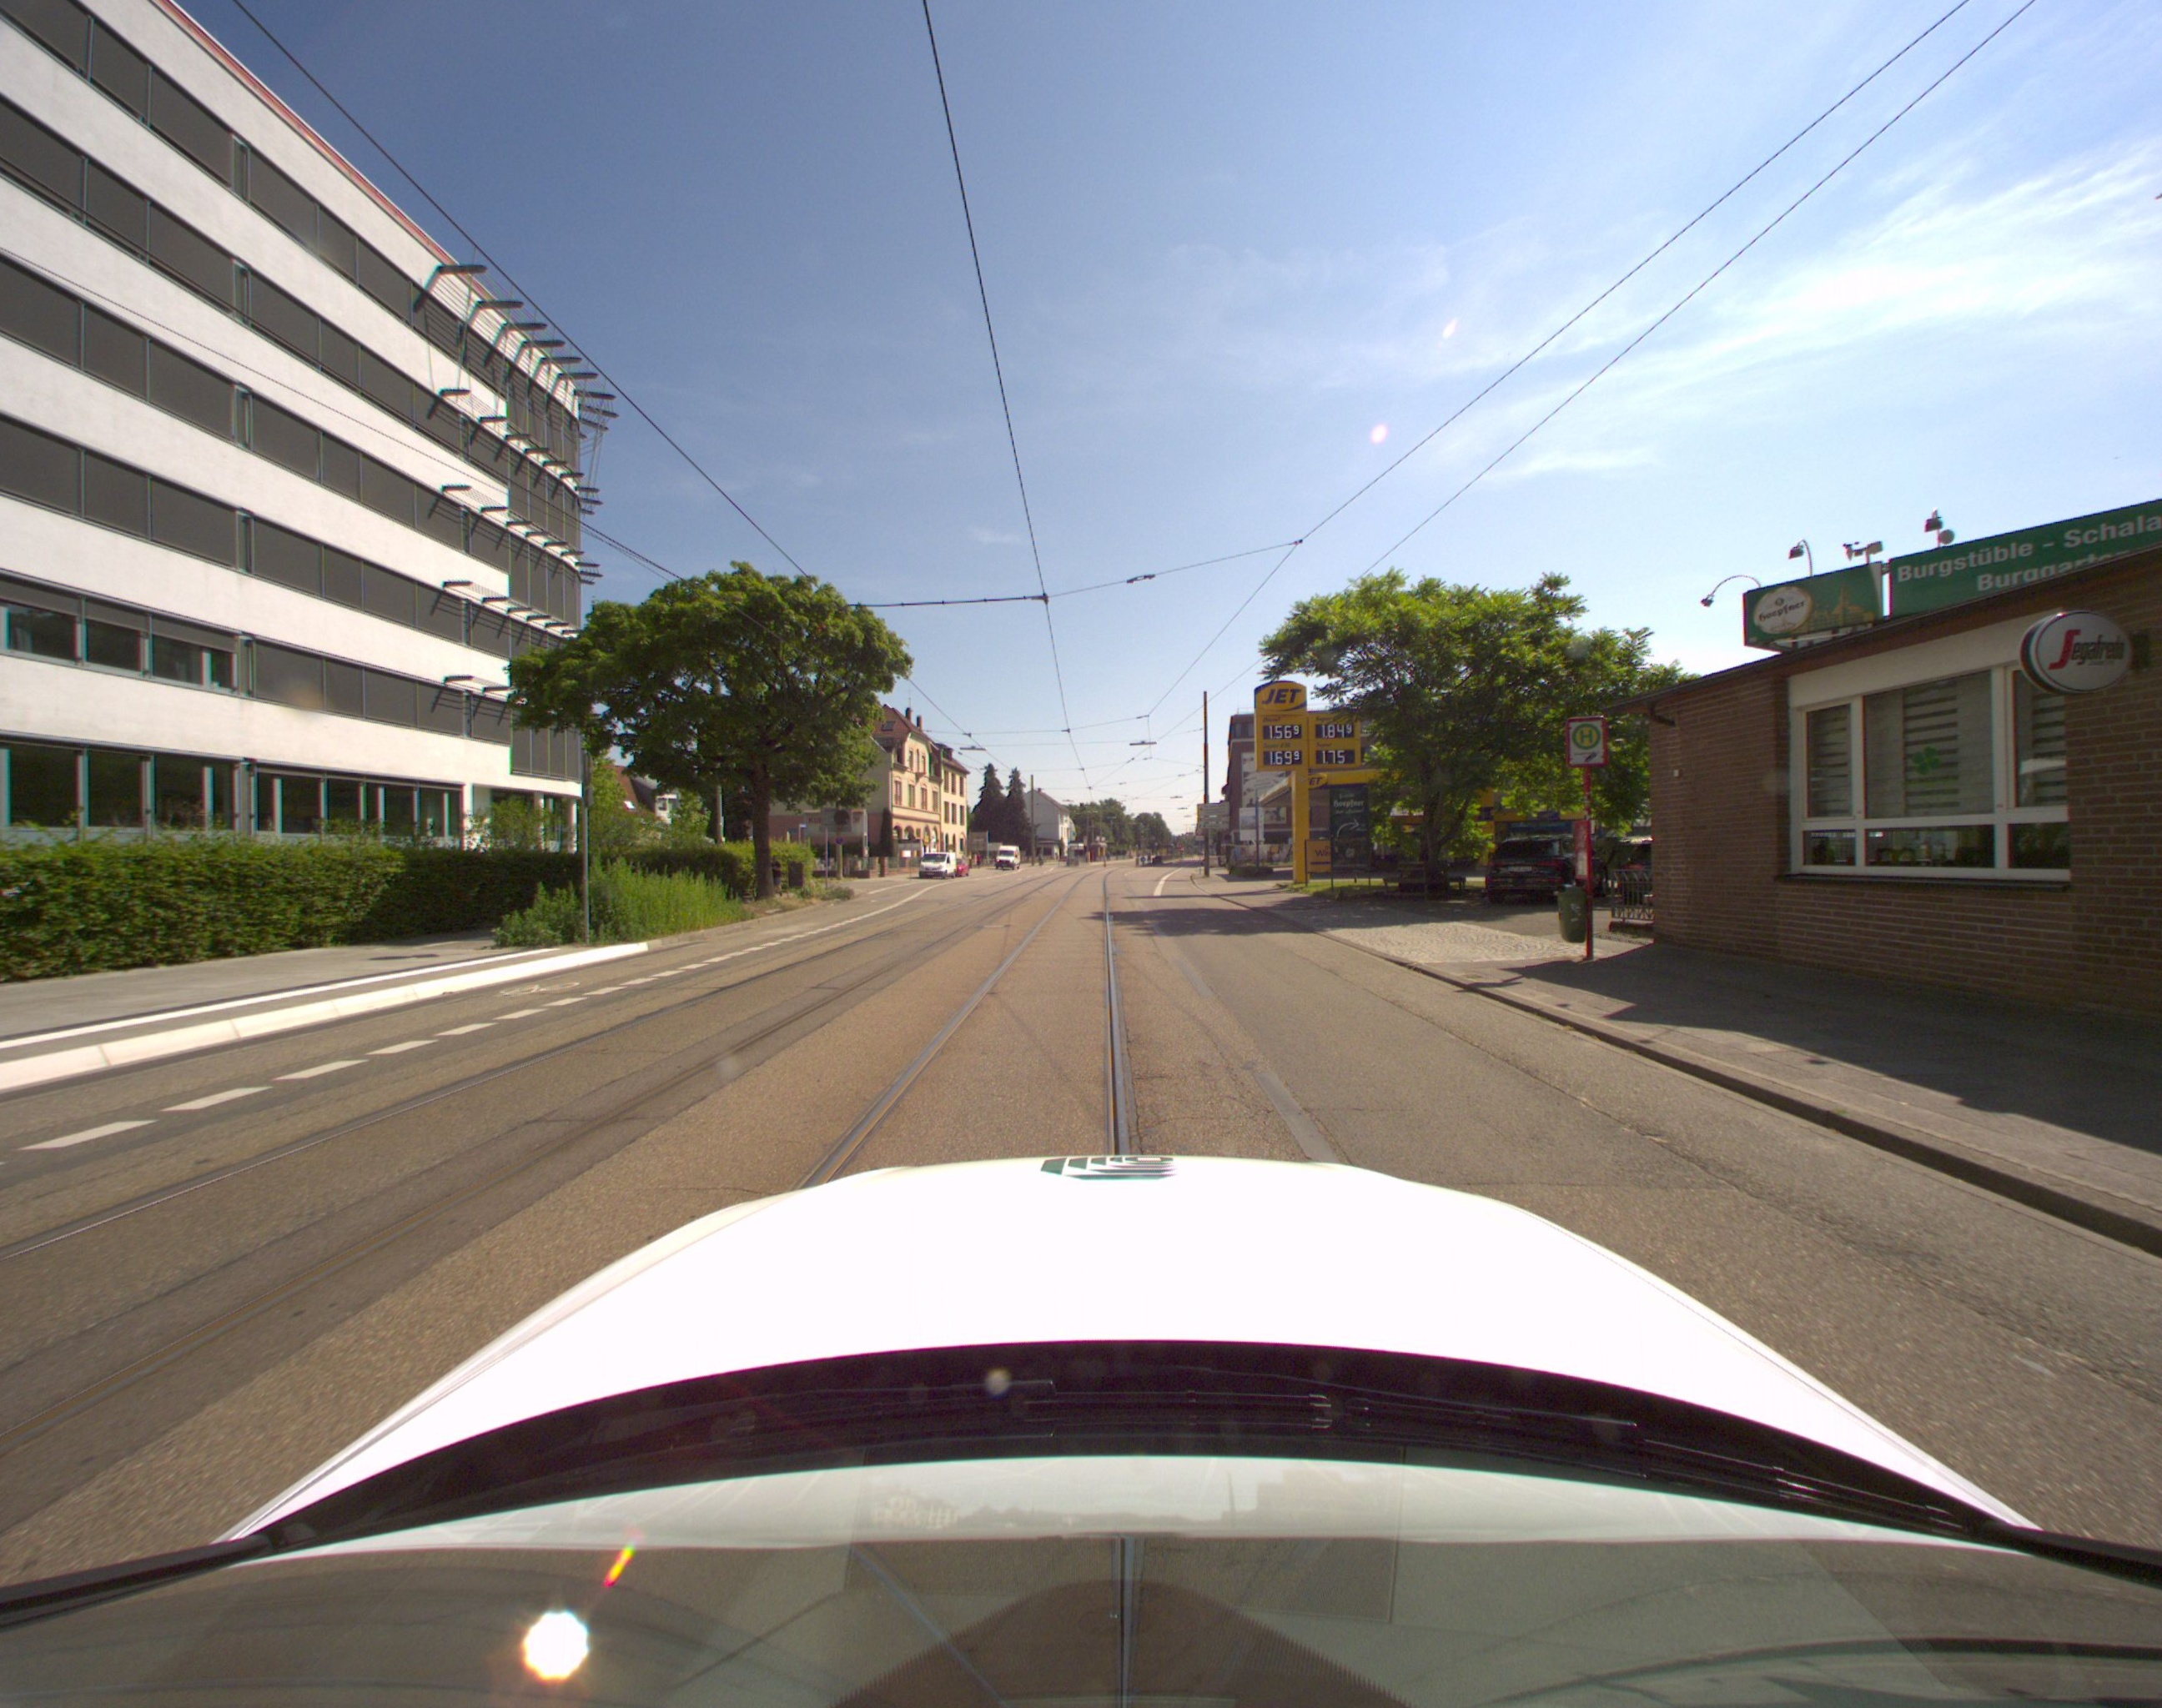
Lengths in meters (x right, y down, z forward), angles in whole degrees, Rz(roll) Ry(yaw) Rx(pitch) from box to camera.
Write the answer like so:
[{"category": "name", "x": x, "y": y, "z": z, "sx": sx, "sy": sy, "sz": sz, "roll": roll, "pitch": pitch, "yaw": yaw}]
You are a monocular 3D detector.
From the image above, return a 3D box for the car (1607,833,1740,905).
[{"category": "car", "x": 13.671, "y": 0.286, "z": 18.706, "sx": 4.023, "sy": 1.474, "sz": 1.824, "roll": -2, "pitch": 0, "yaw": -45}]

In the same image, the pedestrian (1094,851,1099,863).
[{"category": "pedestrian", "x": 2.270, "y": 0.443, "z": 122.324, "sx": 0.703, "sy": 1.690, "sz": 0.416, "roll": -1, "pitch": 0, "yaw": 1}]

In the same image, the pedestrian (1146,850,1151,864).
[{"category": "pedestrian", "x": 8.527, "y": 0.379, "z": 103.470, "sx": 0.553, "sy": 1.760, "sz": 0.794, "roll": -2, "pitch": 0, "yaw": 3}]

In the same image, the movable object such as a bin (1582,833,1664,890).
[{"category": "movable object such as a bin", "x": 15.079, "y": 0.206, "z": 22.725, "sx": 1.411, "sy": 1.502, "sz": 1.381, "roll": -1, "pitch": 0, "yaw": 5}]

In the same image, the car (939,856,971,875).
[{"category": "car", "x": -10.031, "y": 0.891, "z": 65.235, "sx": 1.713, "sy": 1.406, "sz": 4.004, "roll": -1, "pitch": 0, "yaw": 3}]

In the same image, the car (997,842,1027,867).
[{"category": "car", "x": -7.453, "y": -0.005, "z": 89.145, "sx": 2.319, "sy": 2.535, "sz": 6.513, "roll": -1, "pitch": 1, "yaw": 3}]

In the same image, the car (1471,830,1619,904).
[{"category": "car", "x": 11.722, "y": 0.263, "z": 20.437, "sx": 4.687, "sy": 1.640, "sz": 1.995, "roll": -2, "pitch": 0, "yaw": -45}]

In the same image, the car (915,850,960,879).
[{"category": "car", "x": -10.370, "y": 0.732, "z": 59.064, "sx": 2.075, "sy": 2.013, "sz": 4.913, "roll": 0, "pitch": 0, "yaw": 4}]

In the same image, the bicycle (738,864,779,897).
[{"category": "bicycle", "x": -11.764, "y": 0.936, "z": 29.767, "sx": 0.633, "sy": 1.117, "sz": 2.067, "roll": -2, "pitch": 0, "yaw": 1}]

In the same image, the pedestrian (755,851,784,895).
[{"category": "pedestrian", "x": -11.380, "y": 0.692, "z": 29.781, "sx": 0.684, "sy": 1.563, "sz": 0.987, "roll": 0, "pitch": 0, "yaw": -3}]

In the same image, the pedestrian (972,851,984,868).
[{"category": "pedestrian", "x": -11.002, "y": 0.591, "z": 87.029, "sx": 0.936, "sy": 1.815, "sz": 1.134, "roll": -1, "pitch": 0, "yaw": 11}]

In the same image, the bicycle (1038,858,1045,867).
[{"category": "bicycle", "x": -4.614, "y": 1.003, "z": 94.403, "sx": 0.606, "sy": 0.984, "sz": 2.166, "roll": -1, "pitch": 0, "yaw": 3}]

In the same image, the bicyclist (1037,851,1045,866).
[{"category": "bicyclist", "x": -4.621, "y": 0.524, "z": 94.318, "sx": 0.713, "sy": 1.724, "sz": 0.989, "roll": -1, "pitch": 0, "yaw": 3}]
